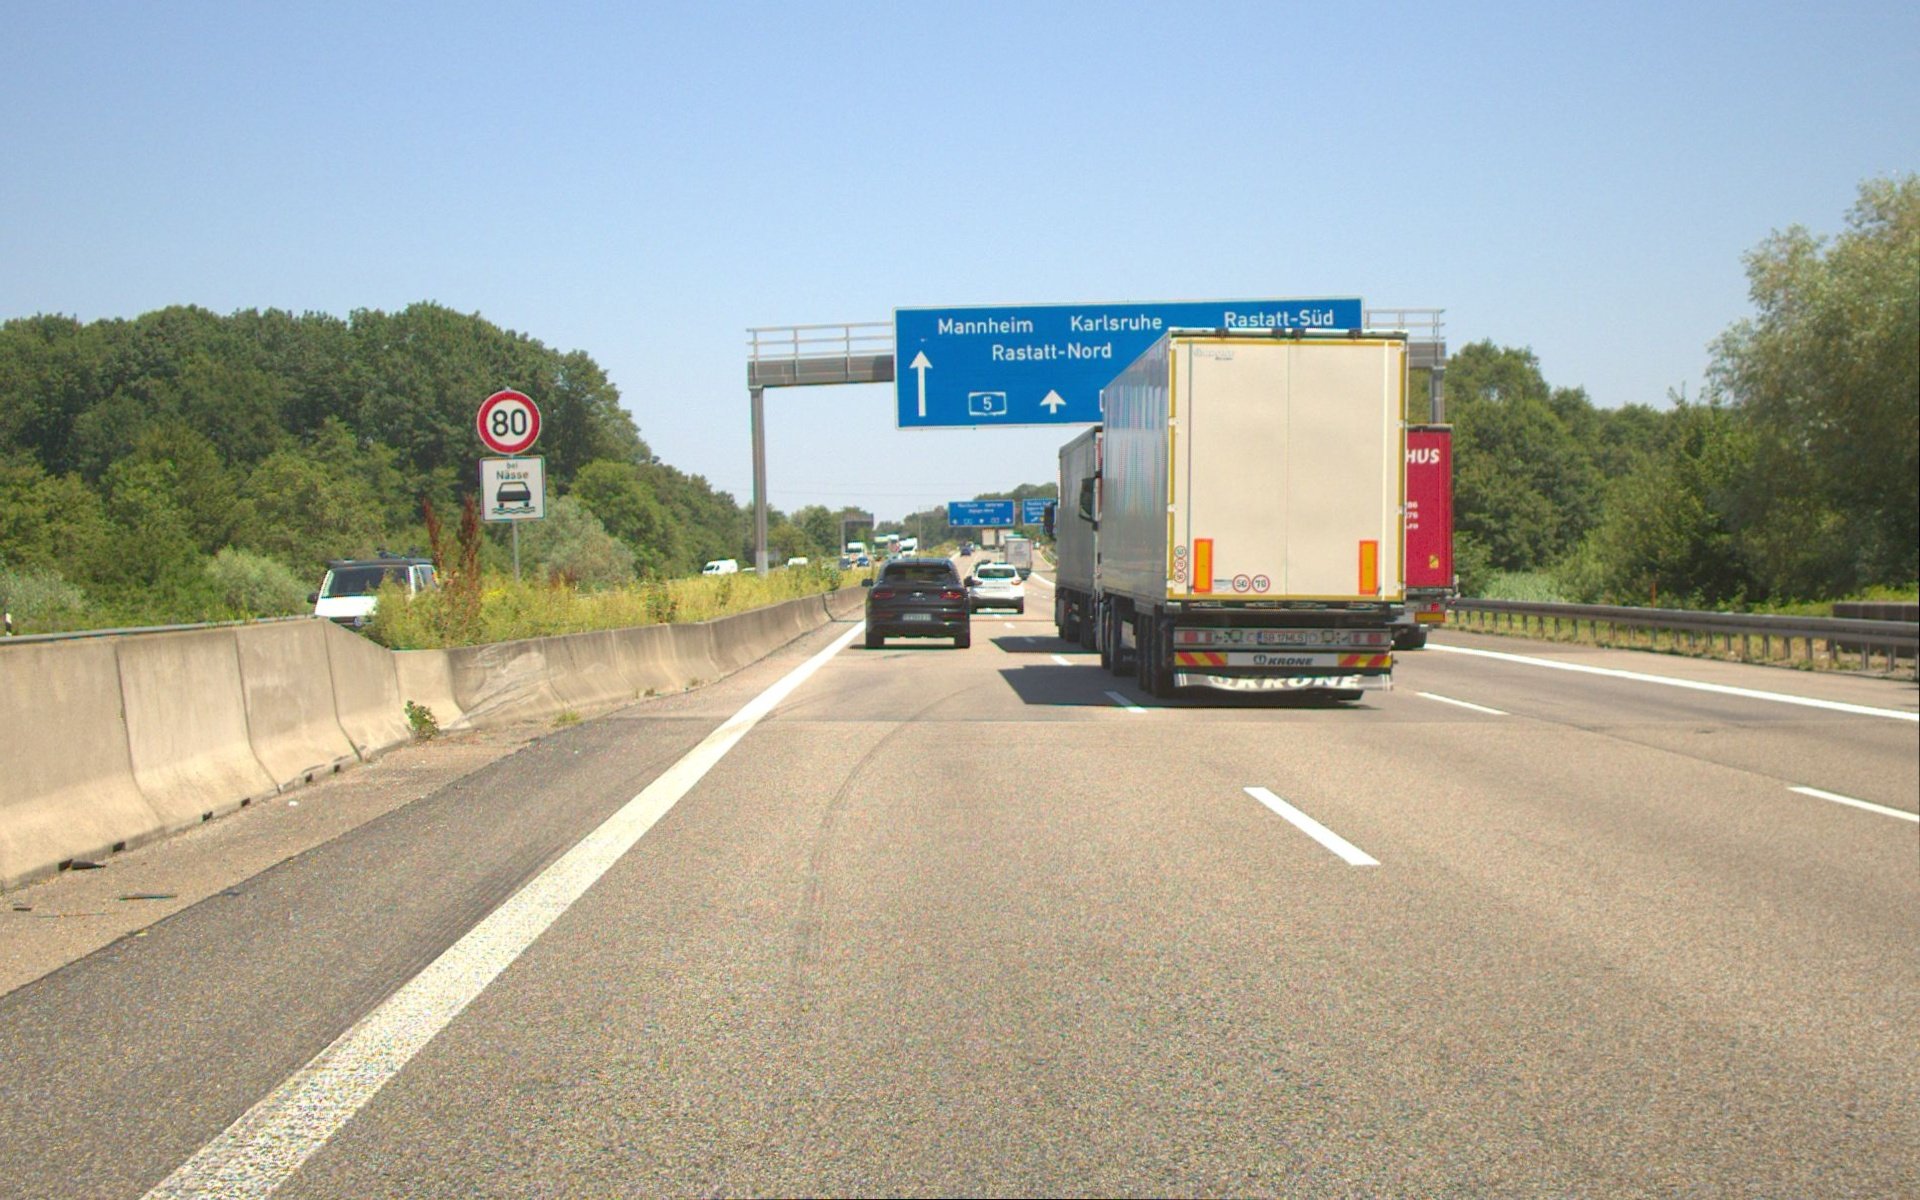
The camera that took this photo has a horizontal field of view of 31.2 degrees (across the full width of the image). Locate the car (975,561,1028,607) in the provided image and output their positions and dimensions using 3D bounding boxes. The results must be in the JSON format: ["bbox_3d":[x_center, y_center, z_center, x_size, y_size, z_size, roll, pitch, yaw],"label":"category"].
[{"bbox_3d":[1.393,-0.551,115.842,1.740,1.481,4.000,0,1,0],"label":"car"}]

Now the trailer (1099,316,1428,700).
[{"bbox_3d":[3.443,-1.047,42.328,2.794,4.021,12.568,0,1,-1],"label":"trailer"}]

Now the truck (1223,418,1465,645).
[{"bbox_3d":[7.457,-1.315,68.839,3.055,4.092,13.219,0,1,-1],"label":"truck"}]

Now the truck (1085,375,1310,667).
[{"bbox_3d":[3.364,-1.118,50.107,2.799,3.993,6.021,0,1,-1],"label":"truck"}]

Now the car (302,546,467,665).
[{"bbox_3d":[-10.635,0.049,63.937,1.993,2.007,6.223,-3,1,-1],"label":"car"}]

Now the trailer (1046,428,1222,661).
[{"bbox_3d":[3.216,-1.002,67.218,2.707,4.054,14.746,0,0,0],"label":"trailer"}]

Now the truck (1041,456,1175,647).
[{"bbox_3d":[3.225,-1.050,76.450,2.700,4.080,6.453,0,0,0],"label":"truck"}]

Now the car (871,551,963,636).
[{"bbox_3d":[-0.840,-0.150,65.954,1.660,1.544,3.783,-1,1,-1],"label":"car"}]
